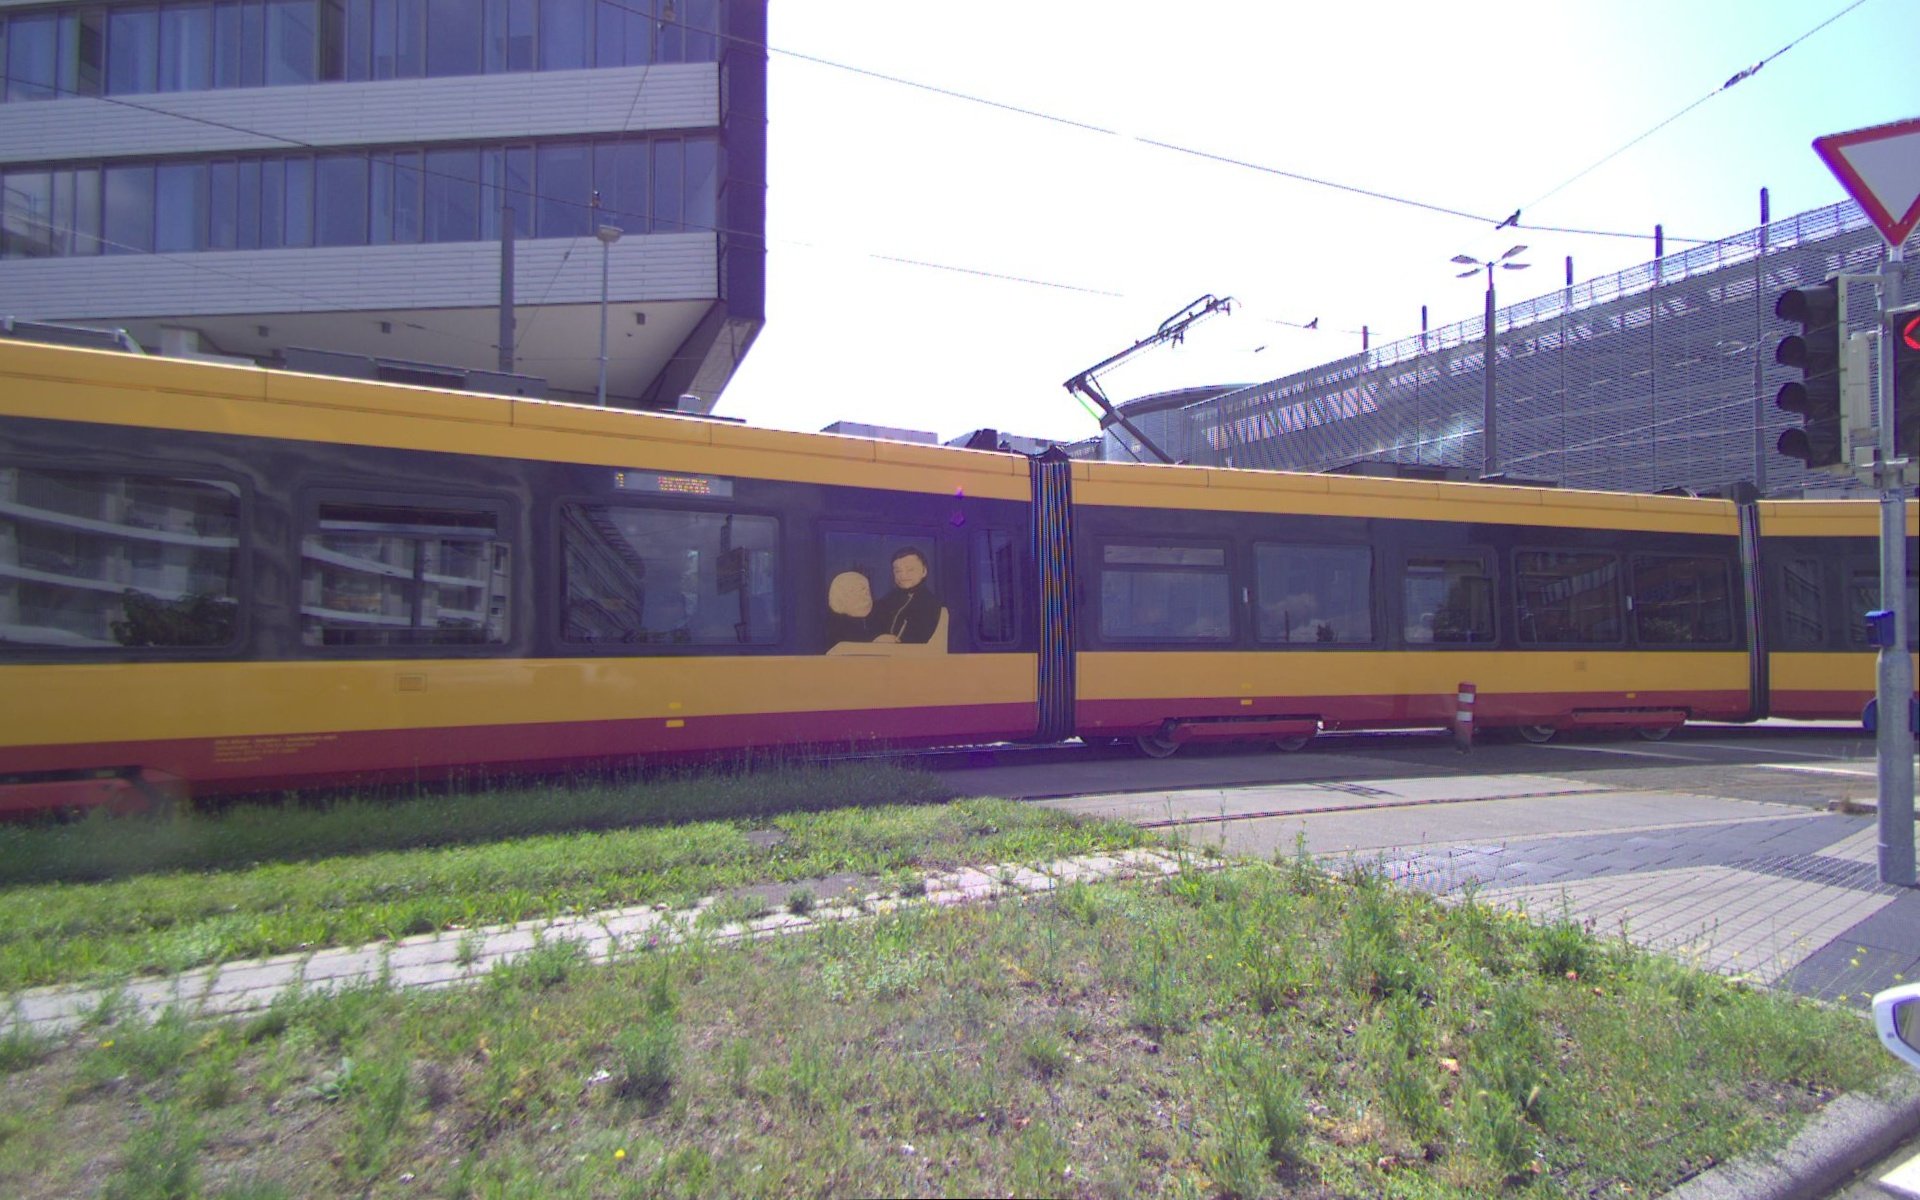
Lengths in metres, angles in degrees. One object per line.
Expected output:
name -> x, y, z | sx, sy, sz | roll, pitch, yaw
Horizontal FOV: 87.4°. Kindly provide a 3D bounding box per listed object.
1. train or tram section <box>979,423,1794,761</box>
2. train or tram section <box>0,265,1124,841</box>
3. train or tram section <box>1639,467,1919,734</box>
train or tram section -> 5.868, 0.029, 13.838 | 10.812, 3.650, 3.056 | 1, -3, -16
train or tram section -> -4.782, -0.186, 8.938 | 13.341, 3.646, 3.202 | 1, -3, -30
train or tram section -> 17.598, 0.032, 14.992 | 12.381, 3.668, 3.067 | 0, -3, 4
